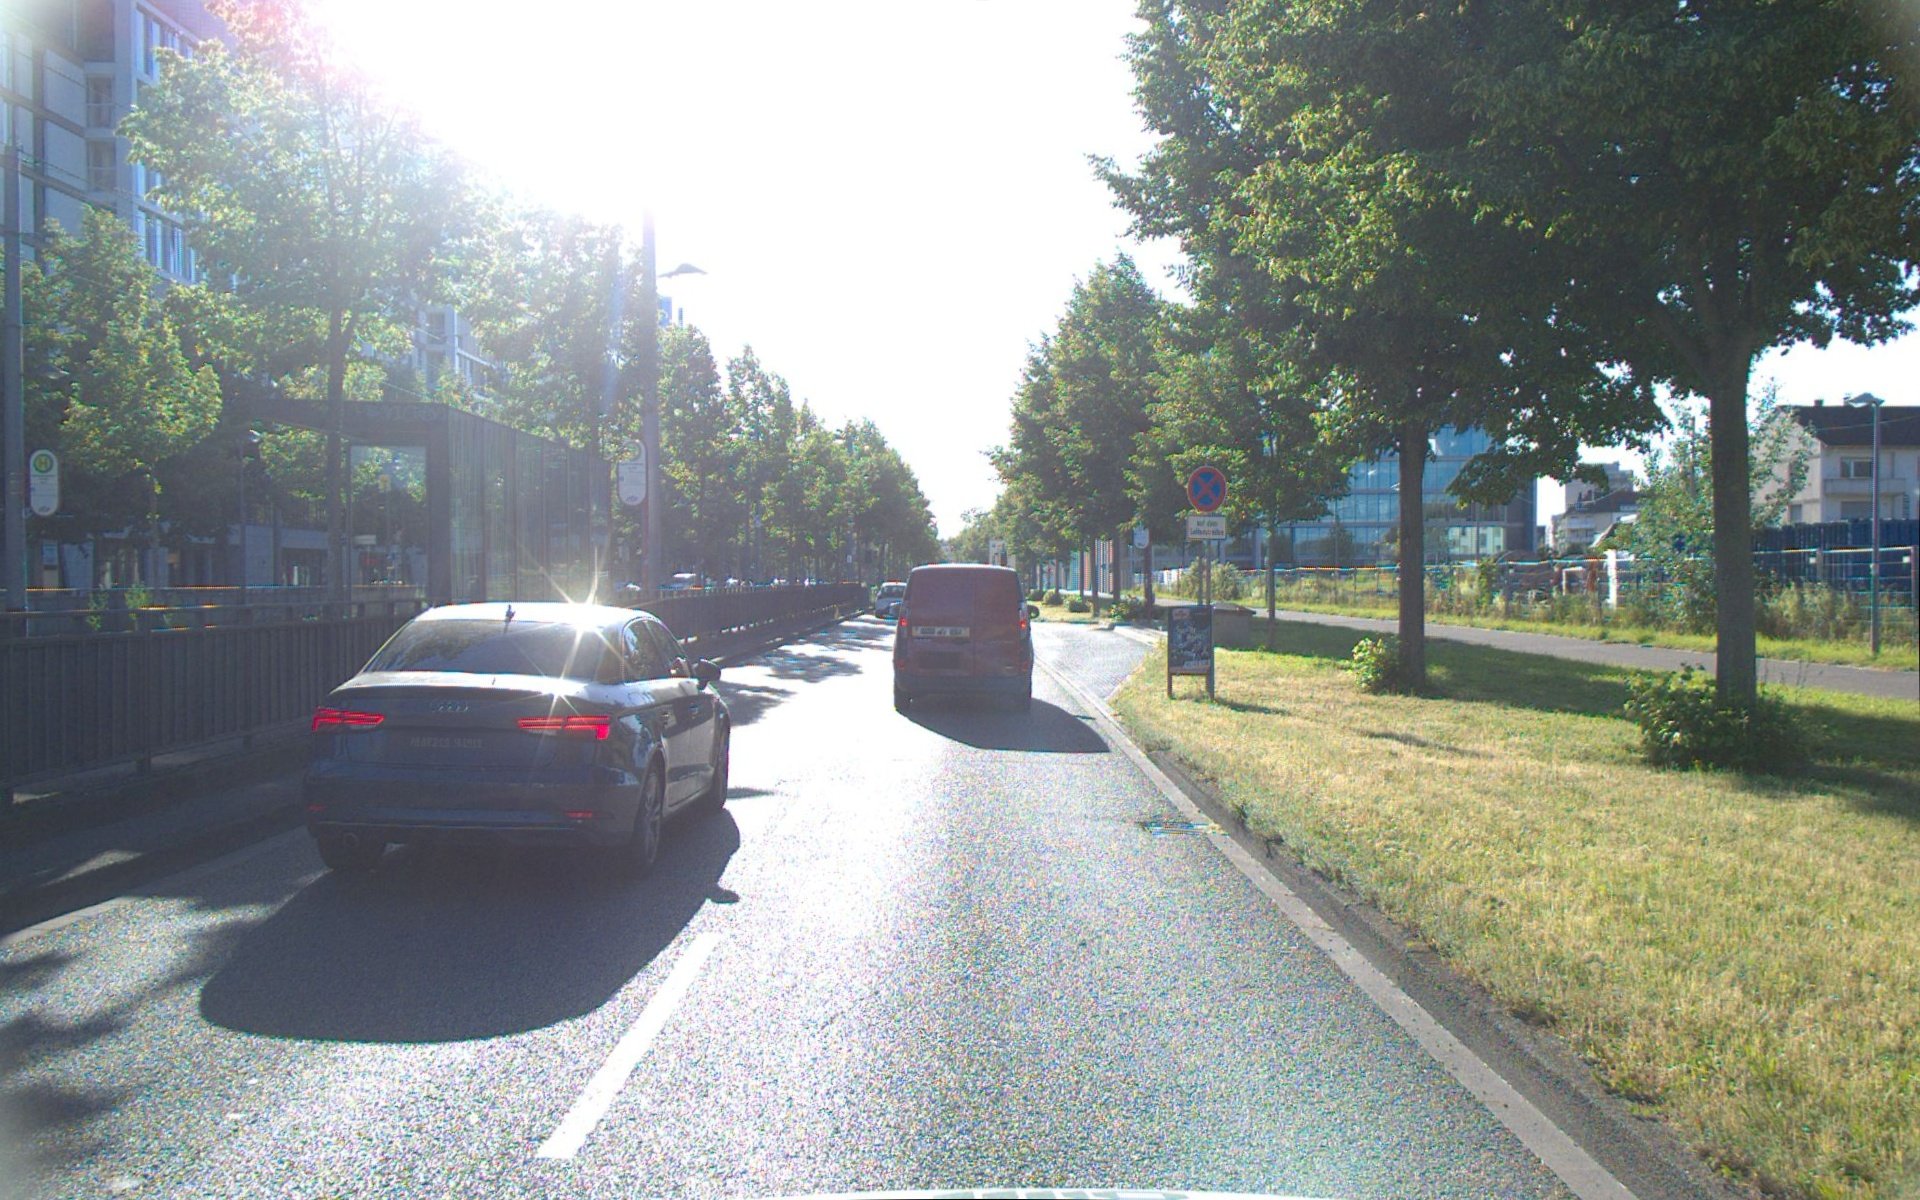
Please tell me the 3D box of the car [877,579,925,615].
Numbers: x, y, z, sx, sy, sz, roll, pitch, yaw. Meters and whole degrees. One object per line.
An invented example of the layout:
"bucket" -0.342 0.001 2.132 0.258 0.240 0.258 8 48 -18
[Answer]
"car" -2.435 -0.136 68.416 1.903 1.466 3.998 0 0 -2

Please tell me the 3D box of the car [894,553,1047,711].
"car" 0.053 0.329 21.773 1.761 1.807 3.999 2 2 -2

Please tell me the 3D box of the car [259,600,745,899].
"car" -2.395 0.694 9.758 1.685 1.390 4.146 0 0 0

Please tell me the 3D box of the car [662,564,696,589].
"car" -22.015 -1.812 129.604 1.953 1.780 4.227 -2 0 -1
